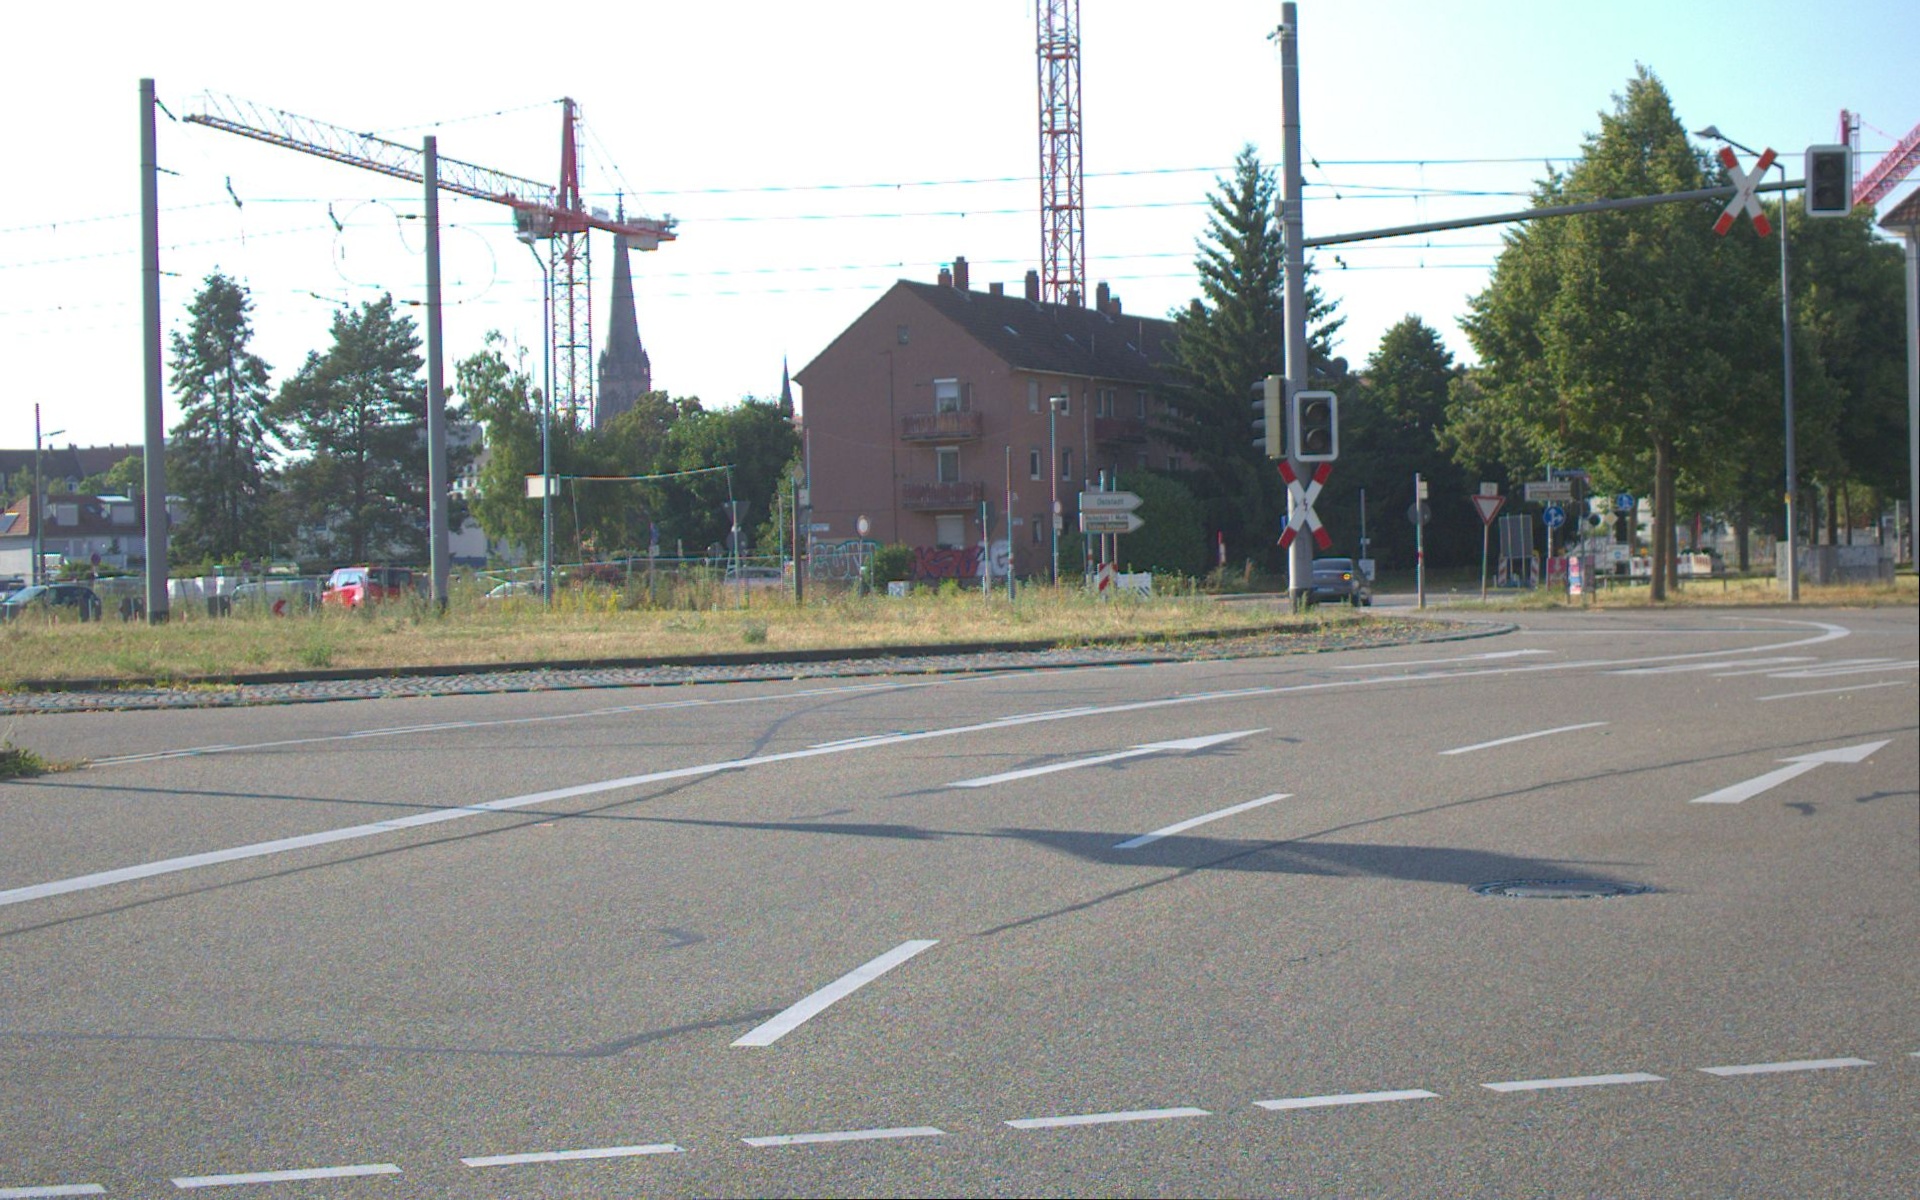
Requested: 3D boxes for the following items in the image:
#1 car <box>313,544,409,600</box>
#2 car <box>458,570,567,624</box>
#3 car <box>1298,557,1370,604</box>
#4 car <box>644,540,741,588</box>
[{"bbox_3d":[-20.266,-0.945,116.156,1.919,1.847,4.000,-2,1,-30],"label":"car"},{"bbox_3d":[-17.251,-0.123,132.505,3.812,2.007,1.670,-1,0,19],"label":"car"},{"bbox_3d":[10.995,-0.578,100.936,1.456,1.295,3.546,-1,1,17],"label":"car"},{"bbox_3d":[-11.636,-1.544,149.626,3.812,2.007,1.670,-1,0,19],"label":"car"}]
